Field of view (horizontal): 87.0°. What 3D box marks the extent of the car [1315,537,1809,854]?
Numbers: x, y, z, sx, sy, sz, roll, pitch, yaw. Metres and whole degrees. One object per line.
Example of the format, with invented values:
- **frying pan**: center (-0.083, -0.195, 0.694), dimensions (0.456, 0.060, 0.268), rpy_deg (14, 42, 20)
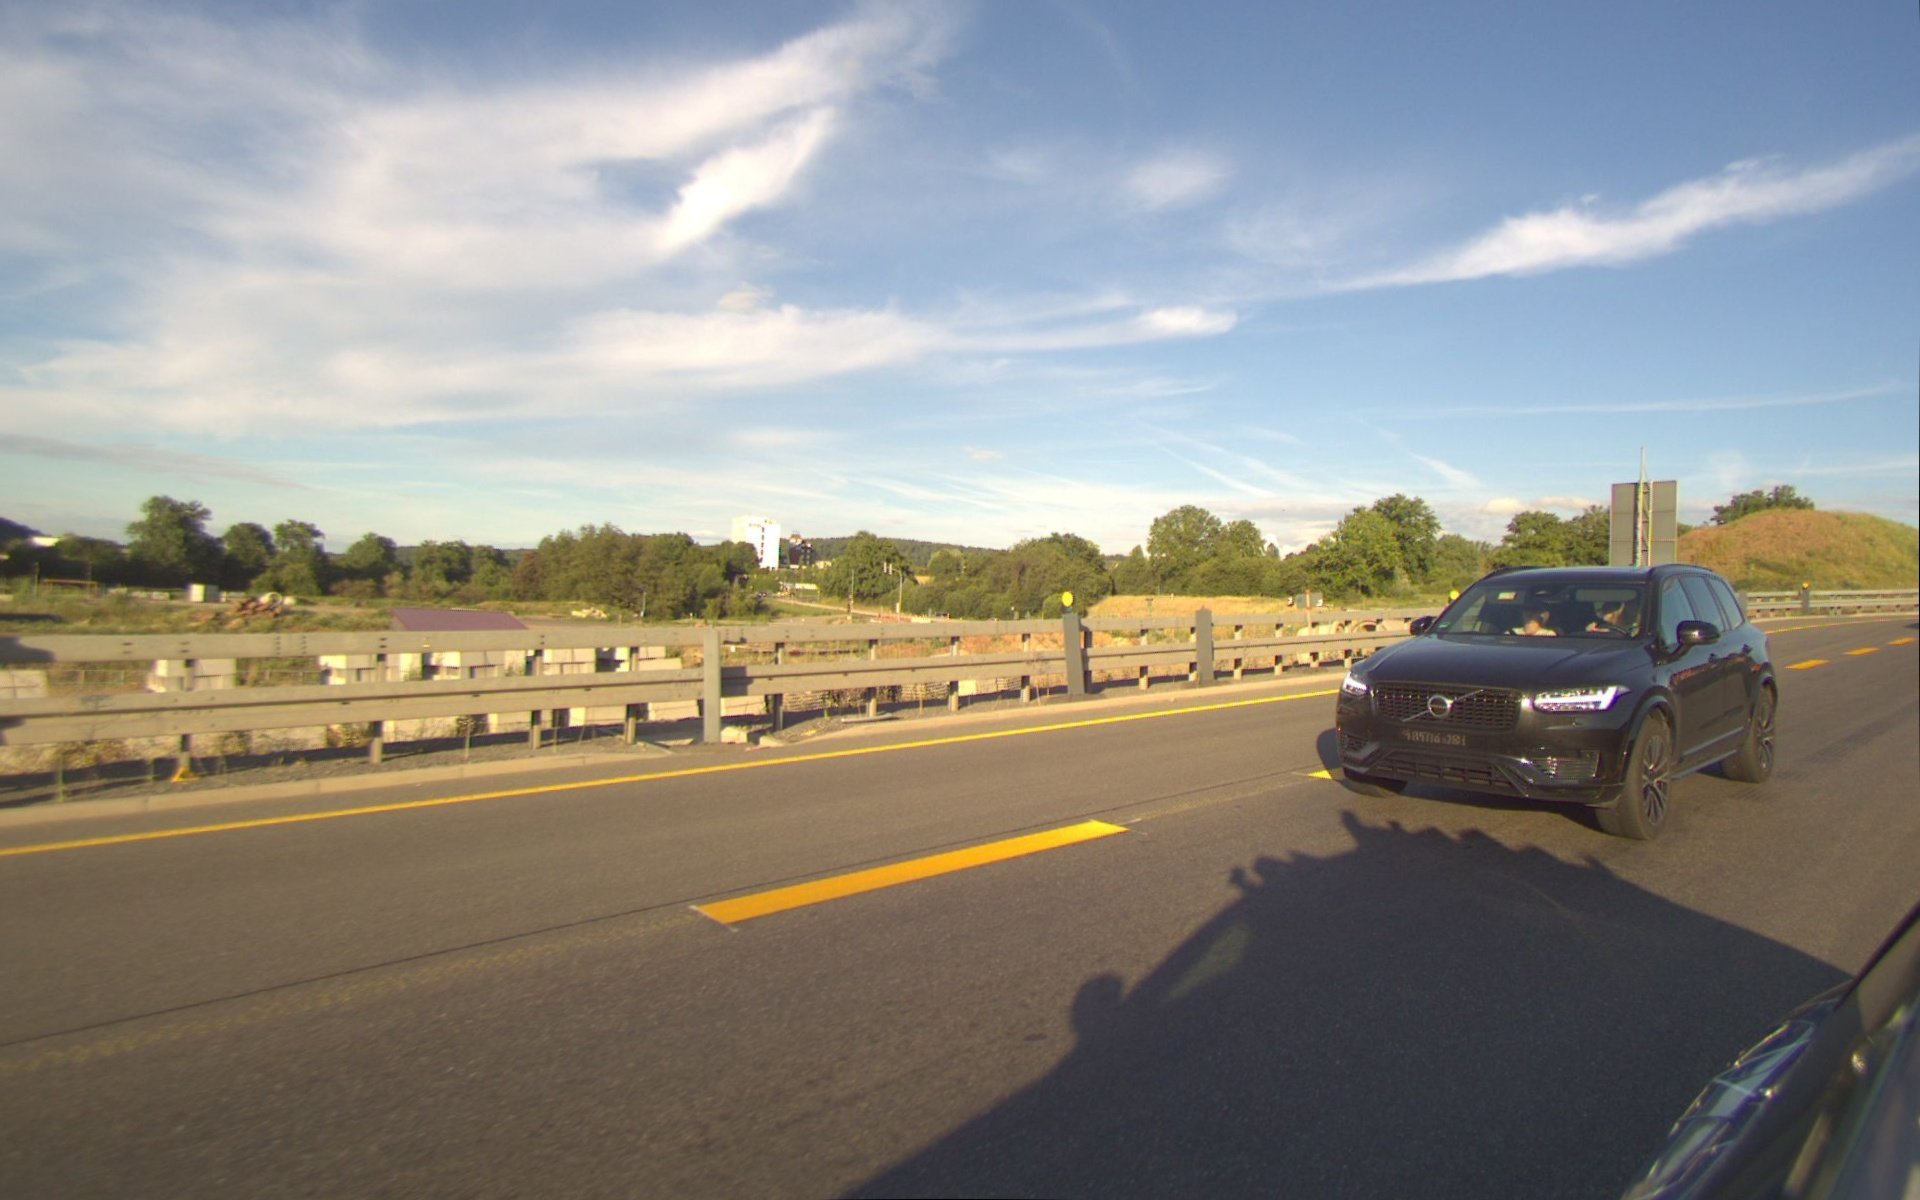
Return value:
- **car**: center (4.884, 0.499, 7.861), dimensions (4.802, 1.735, 1.901), rpy_deg (-1, 0, -41)
